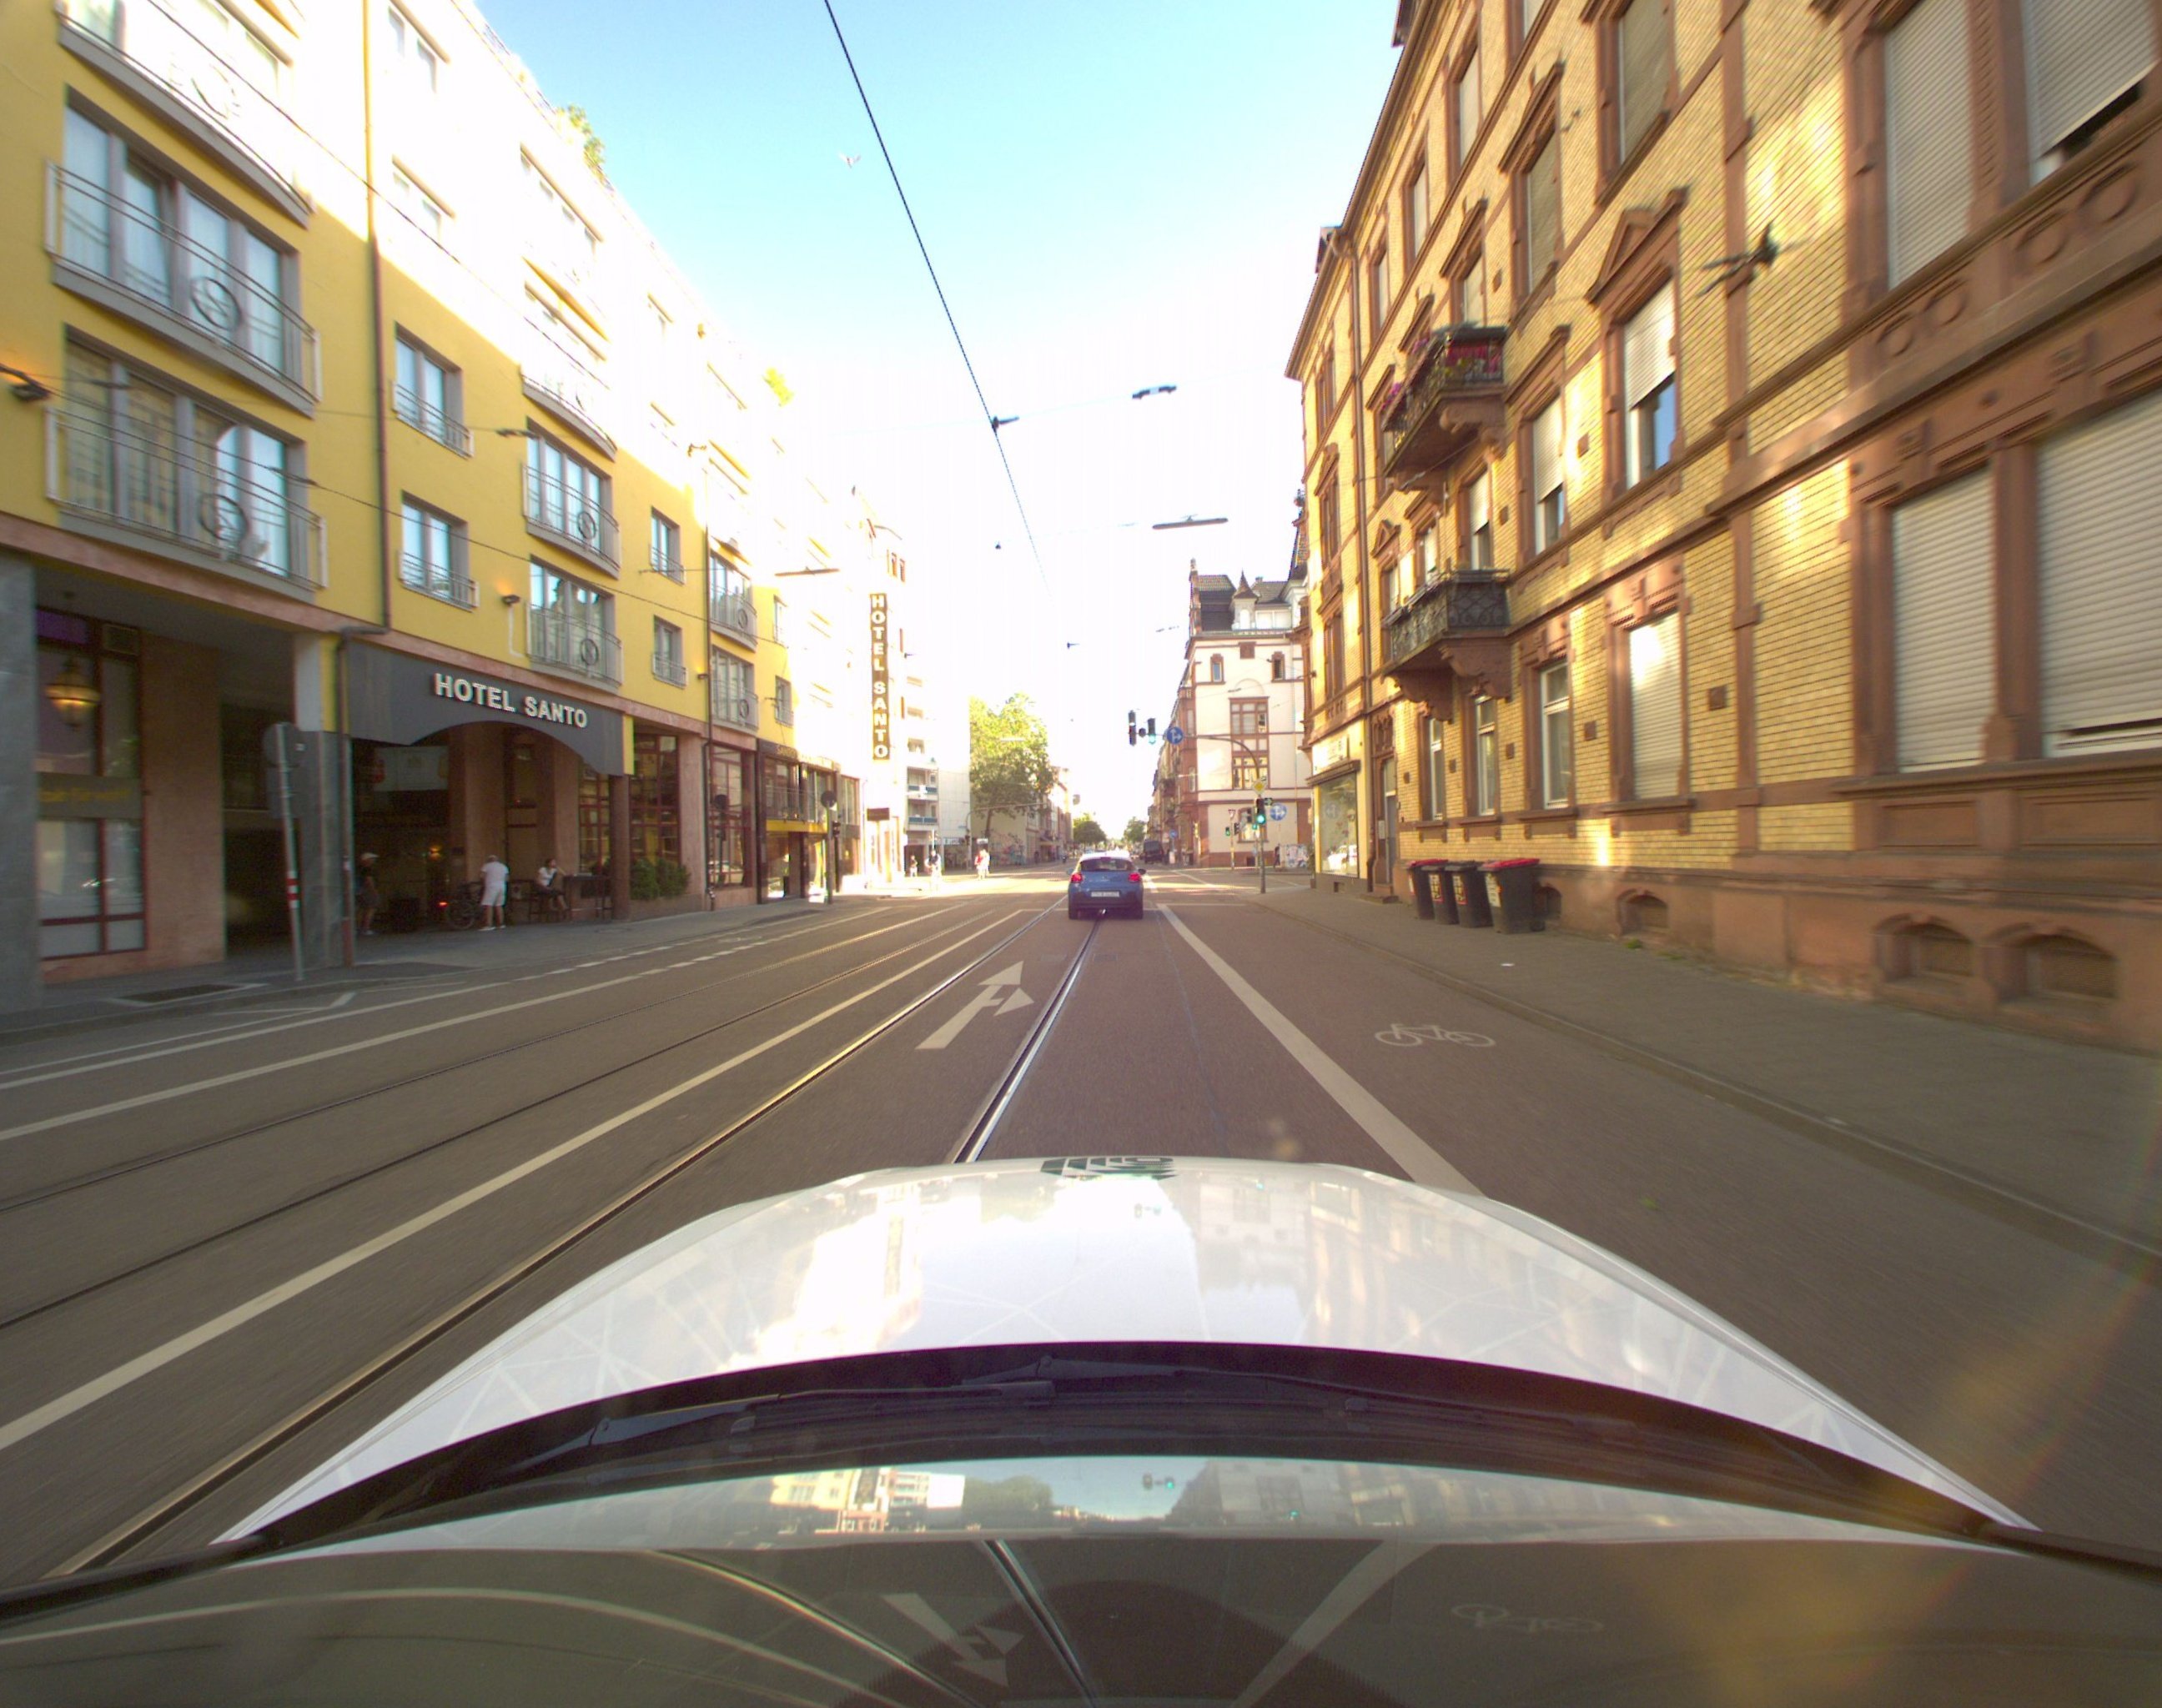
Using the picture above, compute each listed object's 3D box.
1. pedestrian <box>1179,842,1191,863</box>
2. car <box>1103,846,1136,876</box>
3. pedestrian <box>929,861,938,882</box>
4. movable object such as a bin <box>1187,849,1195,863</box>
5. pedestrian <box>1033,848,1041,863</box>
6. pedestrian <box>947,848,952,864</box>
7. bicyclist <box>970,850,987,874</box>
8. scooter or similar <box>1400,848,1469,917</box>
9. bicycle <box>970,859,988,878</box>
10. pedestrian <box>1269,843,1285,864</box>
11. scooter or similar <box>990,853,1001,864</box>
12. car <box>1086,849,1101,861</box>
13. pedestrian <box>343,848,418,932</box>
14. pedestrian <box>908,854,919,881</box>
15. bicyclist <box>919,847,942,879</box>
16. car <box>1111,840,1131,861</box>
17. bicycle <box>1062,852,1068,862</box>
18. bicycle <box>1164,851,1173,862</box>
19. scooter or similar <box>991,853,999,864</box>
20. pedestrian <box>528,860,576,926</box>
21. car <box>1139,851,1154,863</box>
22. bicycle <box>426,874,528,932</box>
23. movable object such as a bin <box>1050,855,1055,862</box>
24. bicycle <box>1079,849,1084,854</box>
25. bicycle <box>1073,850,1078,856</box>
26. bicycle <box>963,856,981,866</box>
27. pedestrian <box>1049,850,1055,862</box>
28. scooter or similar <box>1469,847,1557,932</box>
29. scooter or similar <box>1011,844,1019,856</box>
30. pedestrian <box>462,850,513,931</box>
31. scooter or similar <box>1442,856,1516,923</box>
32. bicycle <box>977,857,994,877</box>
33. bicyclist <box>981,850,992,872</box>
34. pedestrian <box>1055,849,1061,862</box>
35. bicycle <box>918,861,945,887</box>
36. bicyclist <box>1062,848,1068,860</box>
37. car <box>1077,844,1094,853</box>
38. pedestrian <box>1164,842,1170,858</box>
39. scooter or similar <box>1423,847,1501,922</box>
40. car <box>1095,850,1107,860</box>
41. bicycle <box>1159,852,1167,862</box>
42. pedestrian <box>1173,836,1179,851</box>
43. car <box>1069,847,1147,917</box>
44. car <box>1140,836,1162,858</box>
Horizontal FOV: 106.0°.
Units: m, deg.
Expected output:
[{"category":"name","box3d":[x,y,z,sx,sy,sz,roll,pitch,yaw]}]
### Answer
[{"category":"pedestrian","box3d":[9.034,-0.127,70.657,0.703,1.781,0.673,-11,0,1]},{"category":"car","box3d":[2.072,0.346,44.068,1.661,1.478,4.002,-2,0,2]},{"category":"pedestrian","box3d":[-11.399,1.363,62.986,0.540,1.552,0.516,-1,0,1]},{"category":"movable object such as a bin","box3d":[9.294,0.139,68.764,0.663,1.153,0.595,-1,0,3]},{"category":"pedestrian","box3d":[-5.312,0.190,97.666,0.677,1.765,1.029,-1,0,13]},{"category":"pedestrian","box3d":[-15.153,0.230,94.030,0.454,1.718,0.547,-2,0,2]},{"category":"bicyclist","box3d":[-6.118,0.487,48.669,0.733,1.381,1.469,-1,0,1]},{"category":"scooter or similar","box3d":[6.428,0.507,14.833,0.894,1.148,0.548,-6,0,1]},{"category":"bicycle","box3d":[-6.102,0.846,48.672,0.728,1.065,2.062,-2,0,1]},{"category":"pedestrian","box3d":[13.666,-0.038,56.845,0.929,1.456,0.827,-1,0,24]},{"category":"scooter or similar","box3d":[-9.910,0.509,94.042,1.228,1.258,0.765,-2,0,-10]},{"category":"car","box3d":[1.716,0.113,111.588,1.978,1.502,4.311,-2,0,2]},{"category":"pedestrian","box3d":[-15.259,0.757,17.761,0.703,1.770,0.958,-1,0,7]},{"category":"pedestrian","box3d":[-8.920,0.695,43.349,0.402,1.410,0.516,-1,0,1]},{"category":"bicyclist","box3d":[-6.654,0.370,36.139,0.721,1.381,1.228,-1,0,1]},{"category":"car","box3d":[4.145,-0.384,84.634,1.986,2.013,4.002,-2,0,2]},{"category":"bicycle","box3d":[-2.030,0.382,102.521,0.690,1.120,2.085,-1,1,2]},{"category":"bicycle","box3d":[8.025,0.230,74.595,0.430,0.947,1.761,-2,0,-4]},{"category":"scooter or similar","box3d":[-10.146,0.518,95.899,0.937,1.222,0.765,-2,0,-10]},{"category":"pedestrian","box3d":[-12.796,0.938,19.716,0.701,1.547,0.602,-1,0,7]},{"category":"car","box3d":[9.839,0.426,122.389,1.997,1.672,4.809,-2,0,3]},{"category":"bicycle","box3d":[-13.782,1.083,18.656,0.578,1.203,2.085,-1,0,7]},{"category":"movable object such as a bin","box3d":[-4.089,0.632,115.941,0.608,0.914,0.695,-2,0,2]},{"category":"bicycle","box3d":[0.131,-0.519,187.318,1.118,1.146,3.641,-2,0,-3]},{"category":"bicycle","box3d":[-1.285,-0.287,187.120,1.118,1.319,3.641,-2,0,-3]},{"category":"bicycle","box3d":[-11.819,0.732,88.001,1.898,1.034,0.669,-1,0,29]},{"category":"pedestrian","box3d":[-4.127,0.260,115.172,0.708,1.764,0.571,-2,0,1]},{"category":"scooter or similar","box3d":[6.405,0.506,12.111,0.787,1.148,0.790,-6,0,1]},{"category":"scooter or similar","box3d":[-7.750,-0.470,95.401,0.785,1.271,1.075,1,2,2]},{"category":"pedestrian","box3d":[-13.255,0.802,18.215,0.558,1.770,0.724,-1,0,7]},{"category":"scooter or similar","box3d":[6.391,0.556,13.108,0.787,0.957,0.680,-6,0,1]},{"category":"bicycle","box3d":[-6.021,0.810,51.540,0.728,1.183,2.062,-2,0,1]},{"category":"bicyclist","box3d":[-5.979,0.432,51.432,0.587,1.376,0.679,-1,0,1]},{"category":"pedestrian","box3d":[-3.211,0.249,115.238,0.707,1.764,0.655,-2,0,3]},{"category":"bicycle","box3d":[-6.633,0.881,36.182,0.728,1.088,2.062,-1,0,1]},{"category":"bicyclist","box3d":[-2.057,-0.025,102.510,0.680,1.483,0.779,-2,0,2]},{"category":"car","box3d":[1.411,-1.524,235.714,4.327,2.580,2.193,-2,0,-23]},{"category":"pedestrian","box3d":[10.568,-0.468,99.847,0.583,2.013,0.823,-1,0,1]},{"category":"scooter or similar","box3d":[6.434,0.501,13.780,0.930,1.148,0.650,-6,0,1]},{"category":"car","box3d":[3.720,0.114,150.941,1.986,1.744,4.565,-2,0,2]},{"category":"bicycle","box3d":[7.511,0.272,74.575,0.430,0.947,1.761,-2,0,-4]},{"category":"pedestrian","box3d":[10.964,-1.222,93.993,0.551,1.782,0.606,-1,0,1]},{"category":"car","box3d":[0.616,0.602,19.760,1.668,1.477,4.000,-2,0,1]},{"category":"car","box3d":[8.165,-0.836,94.938,2.262,2.436,5.724,-2,0,3]}]
